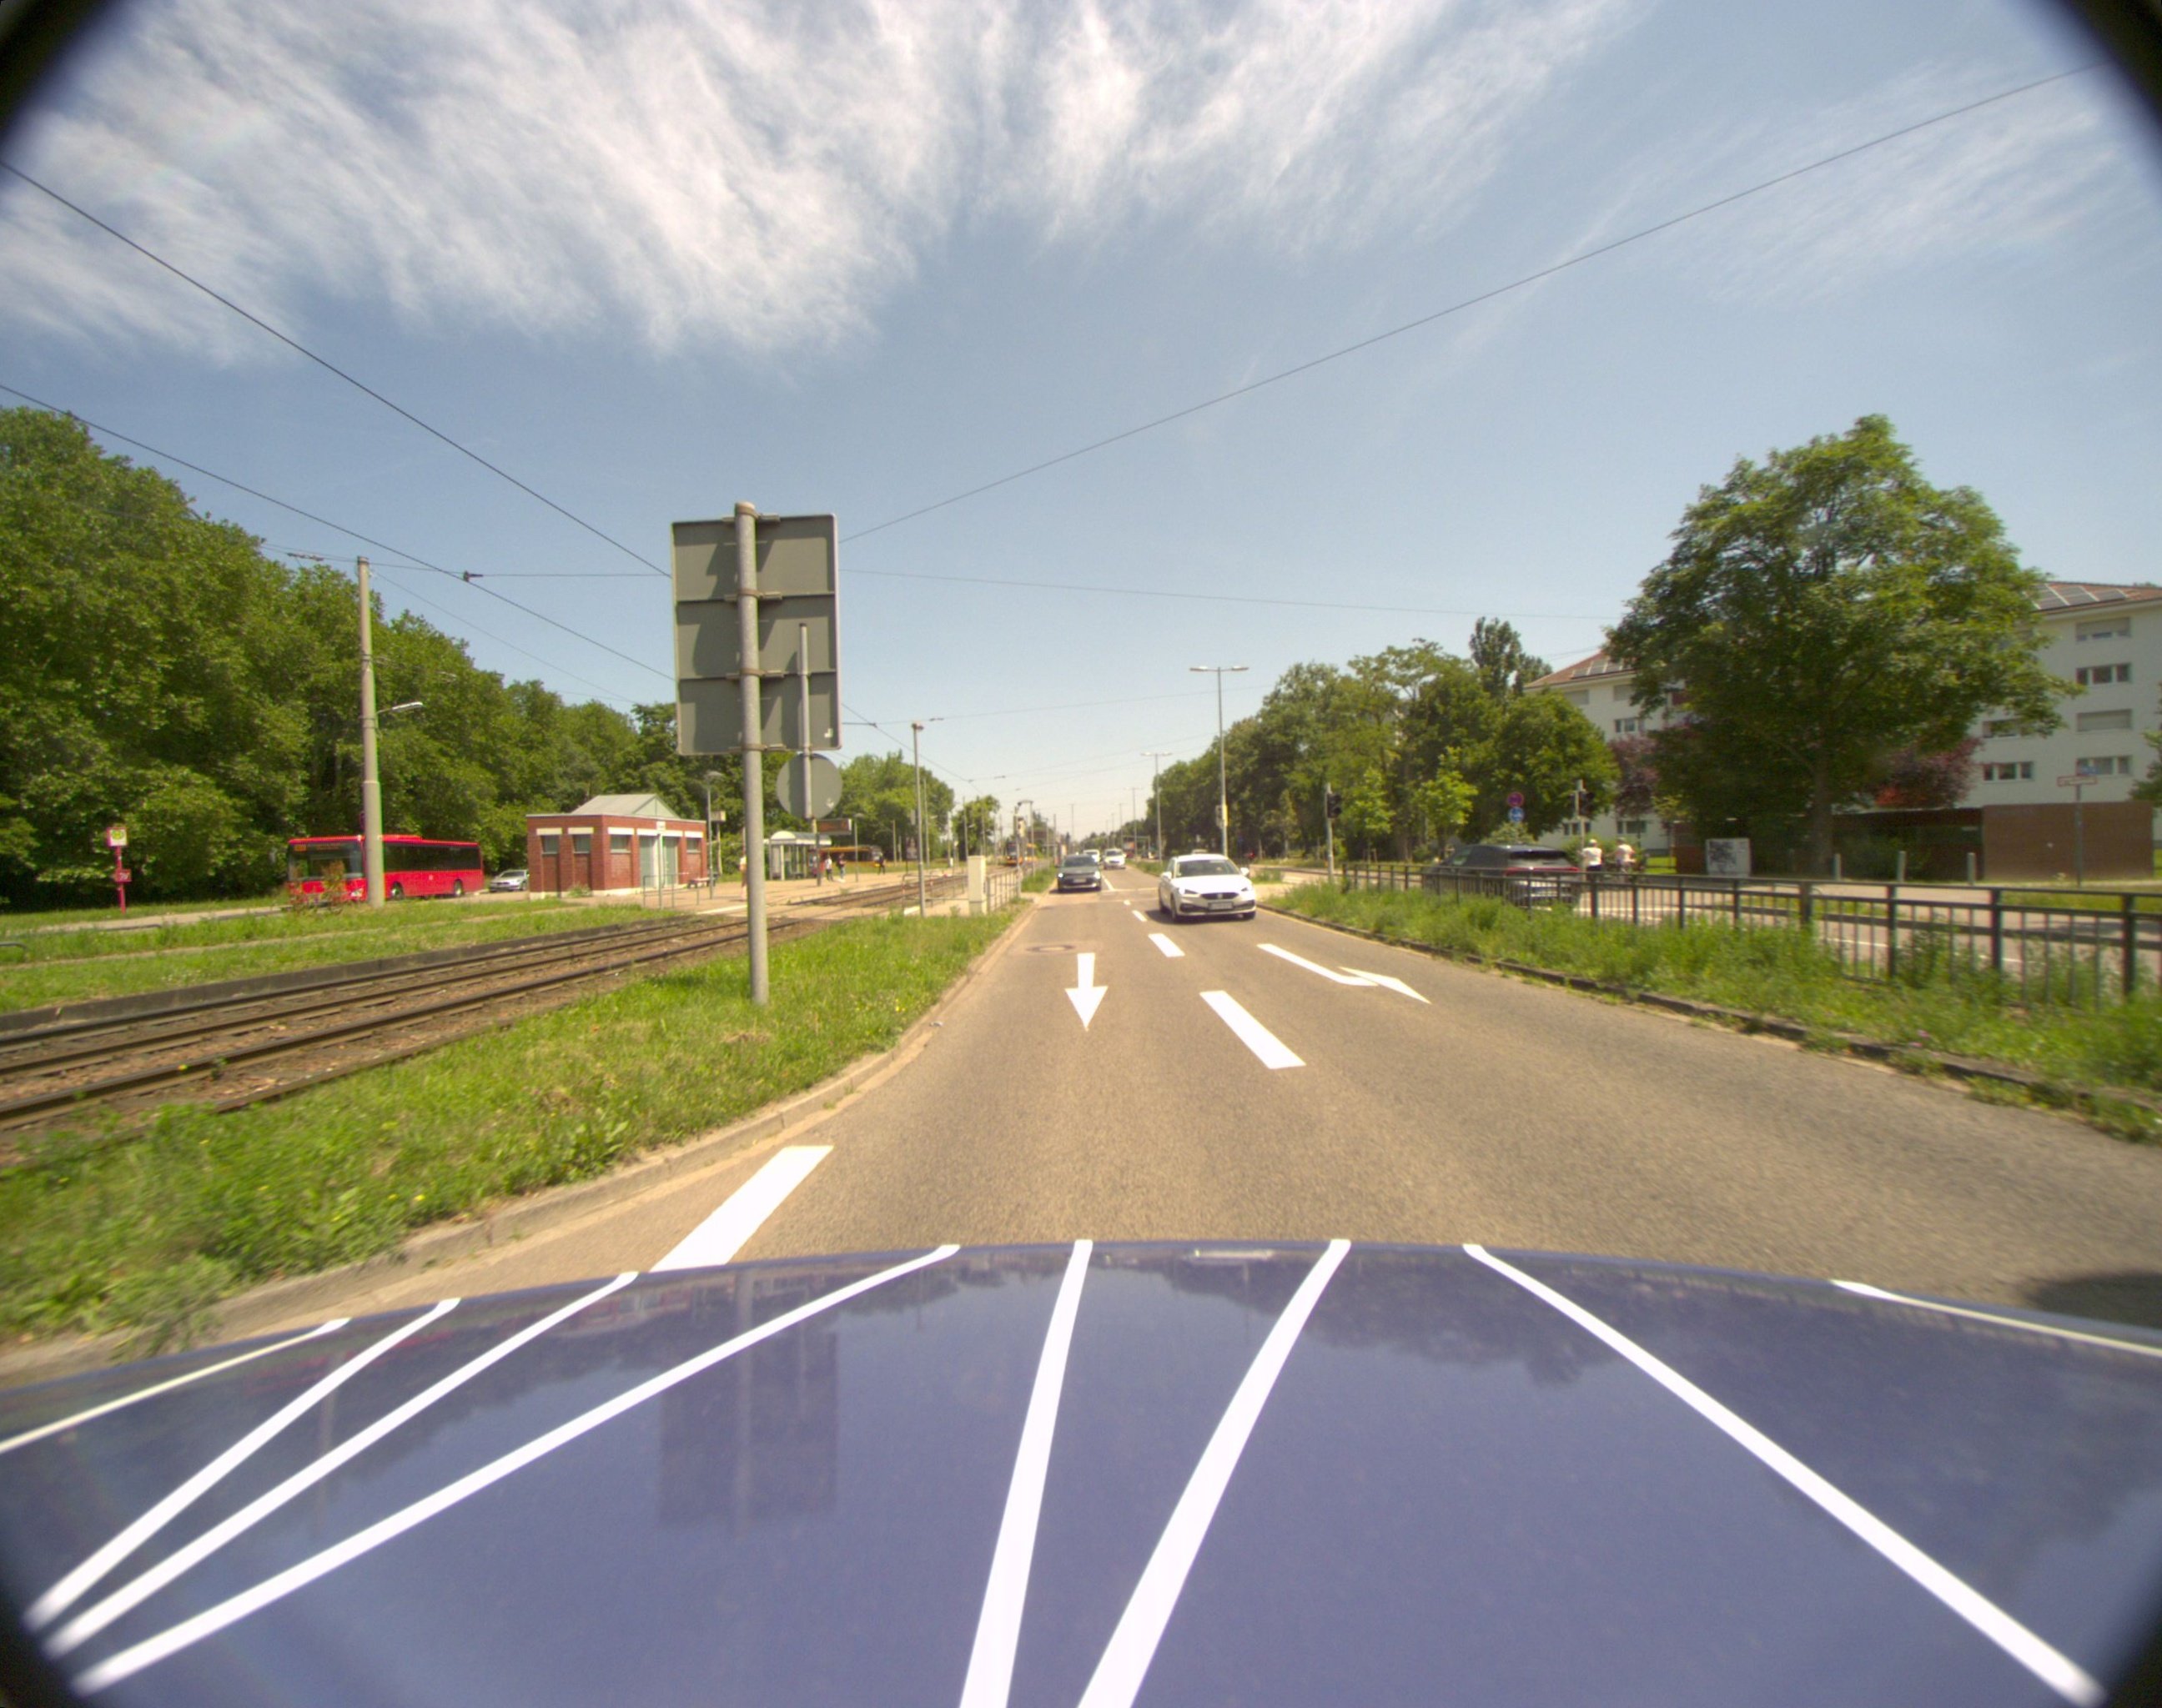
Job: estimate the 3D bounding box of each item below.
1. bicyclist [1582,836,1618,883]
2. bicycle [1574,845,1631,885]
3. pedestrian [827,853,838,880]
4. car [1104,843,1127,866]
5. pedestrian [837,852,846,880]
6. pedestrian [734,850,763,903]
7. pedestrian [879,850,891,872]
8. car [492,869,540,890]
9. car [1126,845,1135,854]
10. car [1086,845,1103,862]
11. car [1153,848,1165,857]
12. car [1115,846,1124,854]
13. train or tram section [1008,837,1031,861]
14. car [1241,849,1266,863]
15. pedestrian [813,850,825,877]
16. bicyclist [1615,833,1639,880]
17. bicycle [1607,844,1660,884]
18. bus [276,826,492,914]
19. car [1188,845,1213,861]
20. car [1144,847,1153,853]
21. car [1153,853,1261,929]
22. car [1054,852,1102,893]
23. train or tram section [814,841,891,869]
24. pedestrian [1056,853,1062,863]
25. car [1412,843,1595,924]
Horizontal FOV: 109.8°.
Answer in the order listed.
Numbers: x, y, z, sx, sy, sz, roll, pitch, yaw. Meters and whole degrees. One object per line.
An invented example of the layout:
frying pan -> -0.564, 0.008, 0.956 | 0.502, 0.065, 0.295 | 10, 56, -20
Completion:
bicyclist -> 15.375, 0.156, 22.532 | 0.546, 1.338, 0.755 | -1, 1, 0
bicycle -> 15.395, 0.316, 22.463 | 0.589, 1.126, 1.615 | -1, 1, 1
pedestrian -> -15.219, 0.770, 46.543 | 0.361, 1.587, 0.483 | -3, 2, 4
car -> 3.171, 0.002, 70.349 | 1.998, 2.002, 4.000 | -1, 1, 2
pedestrian -> -14.463, 0.730, 45.936 | 0.361, 1.637, 0.445 | -1, 1, 3
pedestrian -> -11.260, 0.750, 25.728 | 0.637, 1.749, 0.815 | -4, 2, -13
pedestrian -> -15.613, 0.532, 60.565 | 0.707, 1.754, 0.657 | -1, 1, 2
car -> -37.162, 1.644, 50.068 | 1.575, 1.259, 3.992 | -1, 1, -22
car -> 11.781, -1.037, 181.537 | 1.999, 2.002, 3.999 | -1, 1, 0
car -> 1.645, -0.066, 92.893 | 1.921, 2.002, 3.999 | -1, 1, 0
car -> 15.659, -0.311, 152.452 | 1.864, 1.748, 4.478 | -2, 1, -2
car -> 8.545, -0.917, 170.090 | 1.816, 1.630, 4.000 | -3, 0, 1
train or tram section -> -8.908, -0.767, 110.296 | 2.524, 3.303, 7.260 | -1, 0, 1
car -> 20.367, 0.189, 89.759 | 1.998, 1.576, 4.000 | -1, 0, 1
pedestrian -> -17.488, 0.617, 50.709 | 0.382, 1.764, 0.740 | -3, 2, 4
bicyclist -> 16.117, 0.071, 22.419 | 0.358, 1.384, 0.440 | -3, 1, 3
bicycle -> 16.138, 0.282, 22.228 | 0.555, 1.088, 1.379 | -3, 2, 2
bus -> -33.005, 0.609, 36.978 | 2.770, 3.419, 12.424 | -4, 1, -19
car -> 12.282, -0.149, 78.344 | 1.826, 1.563, 4.346 | -1, 1, -2
car -> 16.579, -0.985, 186.102 | 1.772, 1.545, 4.082 | 0, 1, -1
car -> 2.813, 0.765, 17.839 | 1.772, 1.460, 4.111 | -3, 1, 0
car -> -0.065, 0.729, 32.196 | 1.787, 1.554, 4.135 | -3, 0, 3
train or tram section -> -34.580, 0.127, 114.545 | 13.151, 3.629, 2.720 | -2, 2, 31
pedestrian -> -2.371, 0.443, 81.407 | 0.577, 1.034, 0.579 | -1, 1, 1
car -> 9.500, 0.573, 17.517 | 1.761, 1.534, 4.159 | -3, 1, -2
